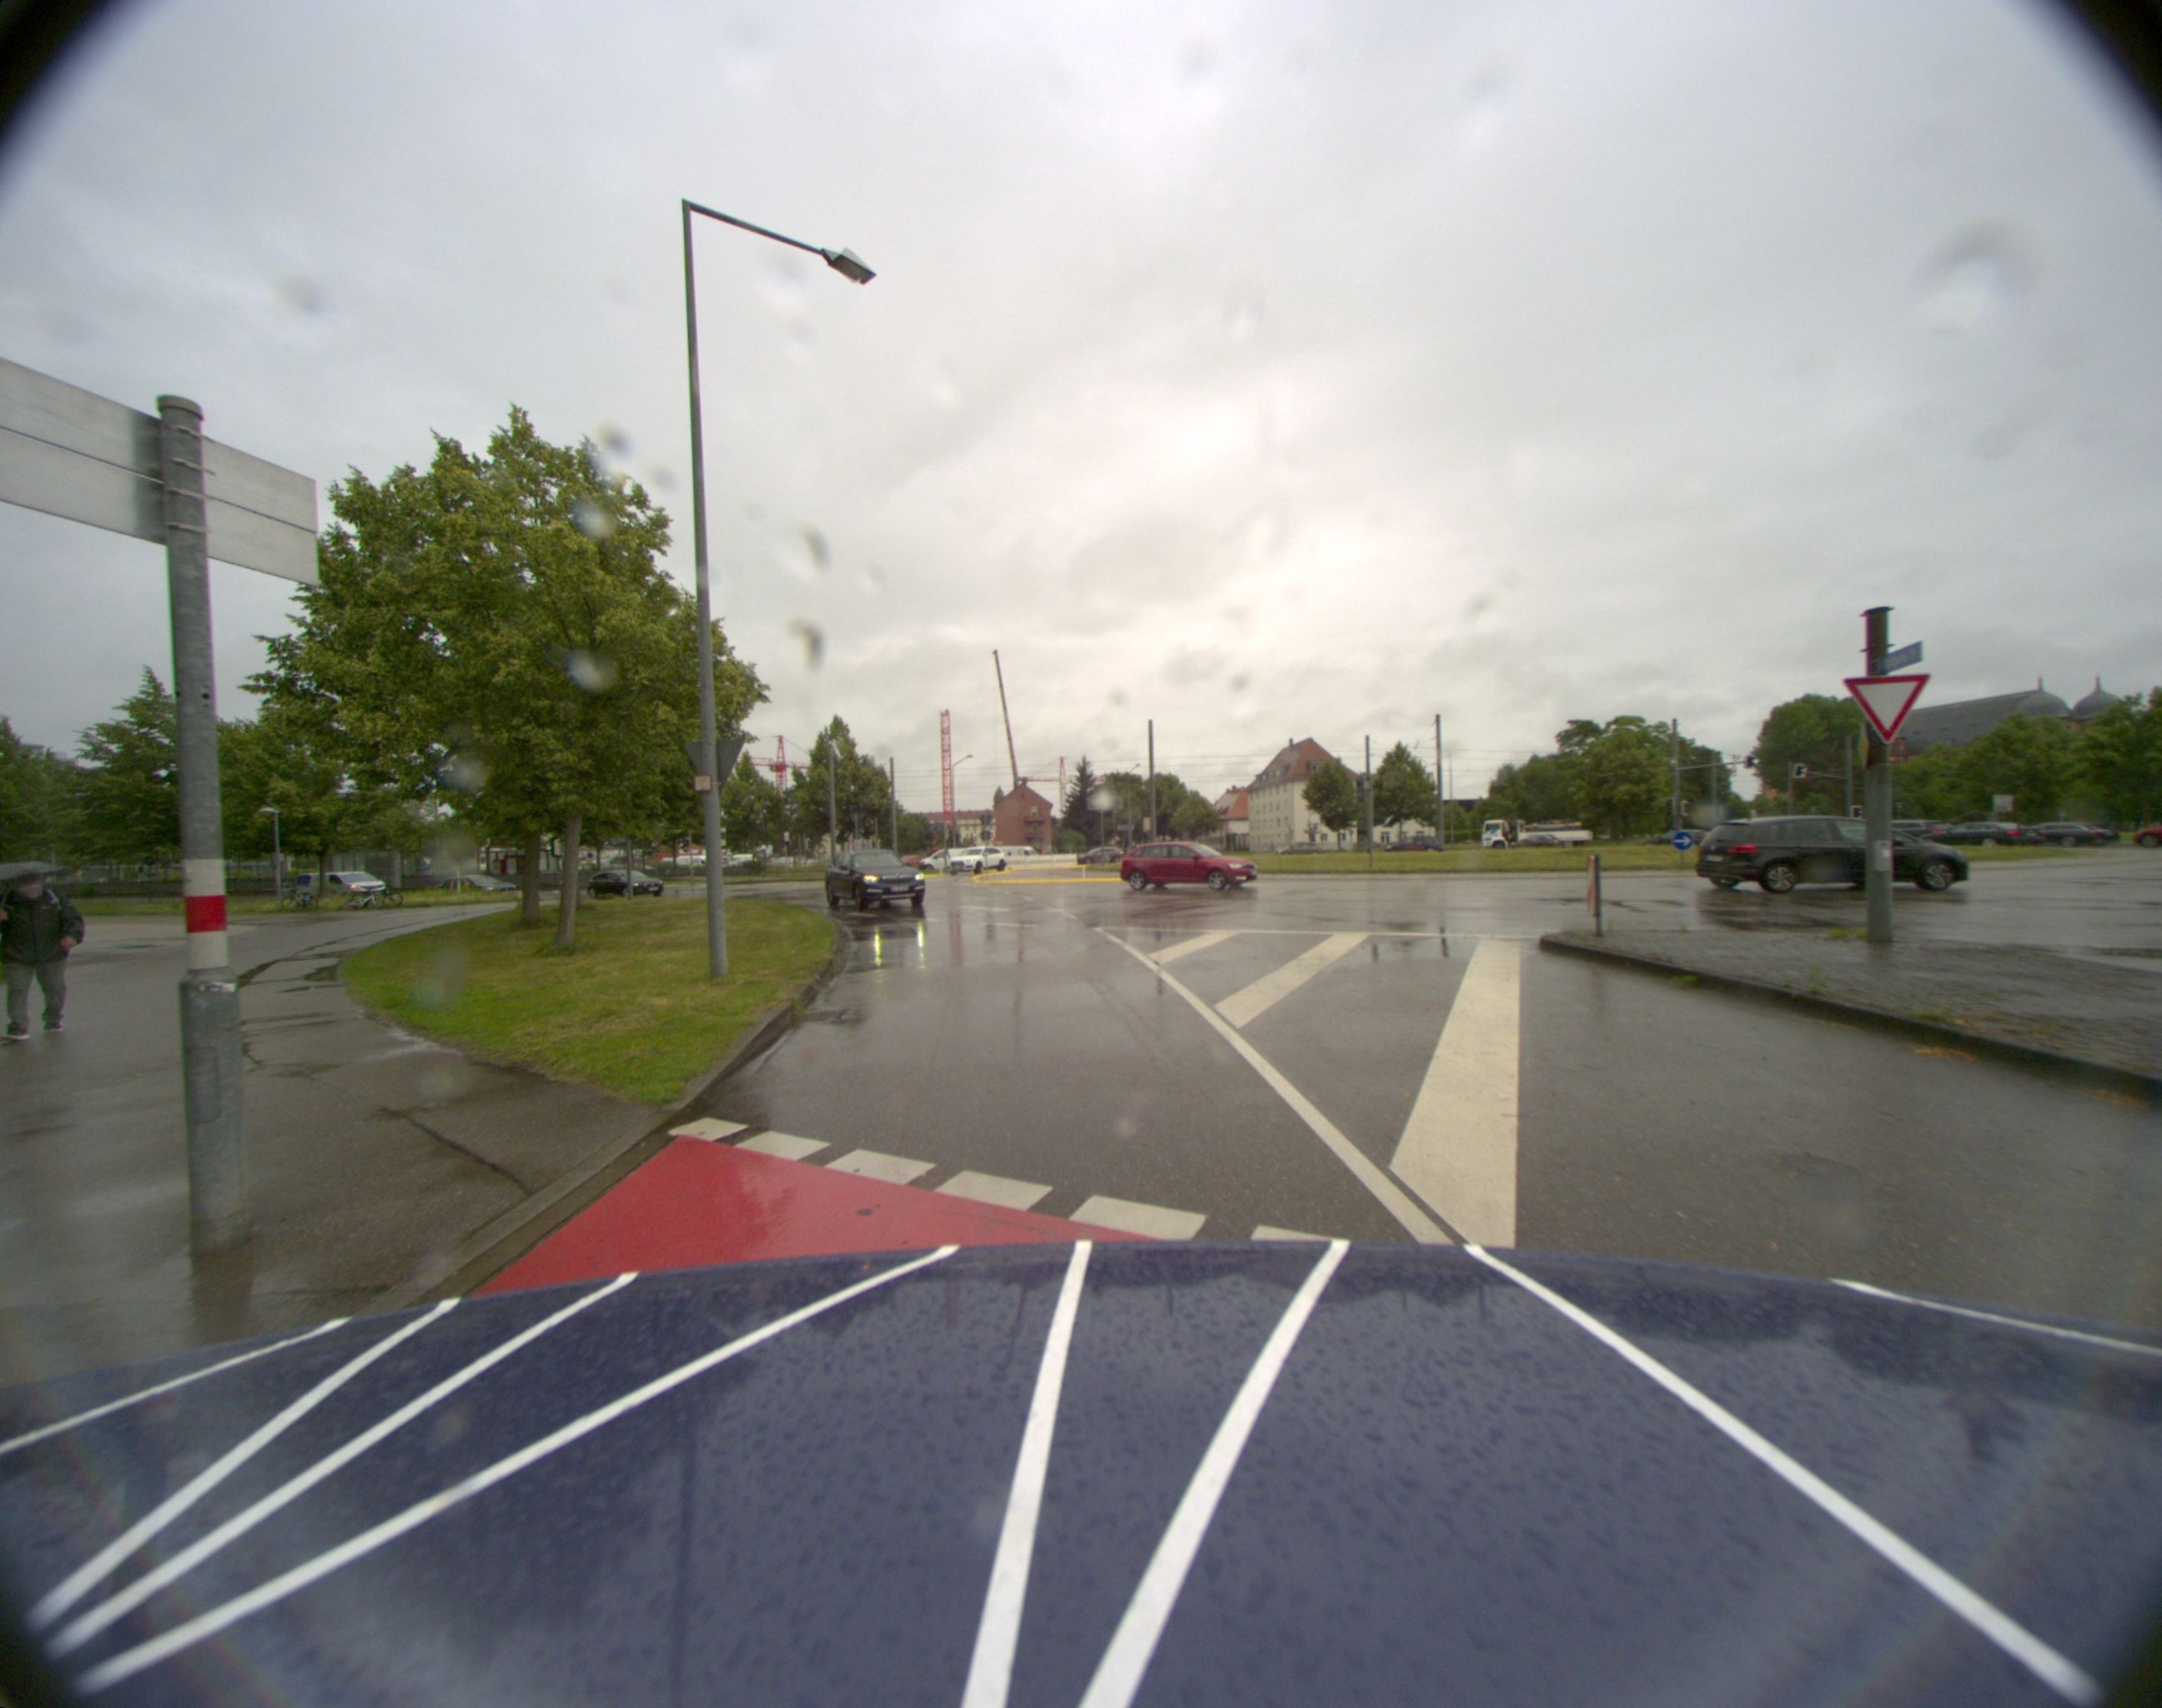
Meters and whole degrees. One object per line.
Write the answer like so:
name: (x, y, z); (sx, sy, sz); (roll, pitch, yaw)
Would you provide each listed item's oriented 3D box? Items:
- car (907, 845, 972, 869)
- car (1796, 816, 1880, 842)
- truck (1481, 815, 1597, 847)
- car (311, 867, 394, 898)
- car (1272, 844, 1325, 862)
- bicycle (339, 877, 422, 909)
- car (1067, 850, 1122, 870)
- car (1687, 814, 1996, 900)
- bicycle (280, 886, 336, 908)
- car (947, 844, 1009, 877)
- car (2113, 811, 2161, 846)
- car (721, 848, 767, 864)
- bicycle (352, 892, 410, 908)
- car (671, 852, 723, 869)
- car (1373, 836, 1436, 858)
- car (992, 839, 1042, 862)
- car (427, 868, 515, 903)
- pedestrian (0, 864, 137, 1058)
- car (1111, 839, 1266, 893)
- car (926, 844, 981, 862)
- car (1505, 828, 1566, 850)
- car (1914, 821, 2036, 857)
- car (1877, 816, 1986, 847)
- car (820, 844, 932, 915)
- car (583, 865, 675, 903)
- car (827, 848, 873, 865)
car: (-11.649, 0.216, 62.835); (5.024, 1.635, 1.829); (-3, 3, -6)
car: (52.674, -1.771, 52.999); (1.787, 1.639, 4.393); (-2, 3, 6)
truck: (41.118, -2.023, 68.401); (8.771, 2.697, 2.003); (0, 4, 38)
car: (-44.169, 1.710, 46.101); (3.992, 1.639, 1.790); (-1, 3, 17)
car: (20.616, -0.091, 72.216); (4.545, 1.484, 1.611); (-2, 3, 3)
bicycle: (-30.632, 1.692, 33.280); (2.529, 1.182, 0.552); (-3, 2, -32)
car: (1.190, 0.509, 67.329); (4.552, 1.484, 1.608); (-3, 3, -17)
car: (15.695, 0.050, 15.936); (4.325, 1.509, 1.790); (-3, 2, 10)
bicycle: (-33.563, 1.878, 32.991); (2.160, 0.842, 0.637); (-2, 1, 14)
car: (-6.436, 0.352, 48.218); (1.774, 1.734, 4.870); (-1, 3, 20)
car: (53.647, -1.216, 36.599); (1.788, 1.639, 4.390); (-2, 3, -2)
car: (-57.578, 0.339, 129.855); (6.824, 2.463, 2.502); (-2, 3, 13)
bicycle: (-30.492, 1.990, 33.106); (1.805, 0.555, 0.320); (-3, 2, -32)
car: (-62.885, 1.029, 124.425); (7.625, 2.463, 2.358); (-2, 3, 13)
car: (27.918, -0.608, 65.754); (4.856, 1.734, 1.779); (-1, 3, 19)
car: (-8.809, -0.464, 104.651); (6.411, 2.924, 2.360); (-1, 4, 27)
car: (-34.247, 1.760, 42.657); (4.372, 1.737, 1.920); (-1, 3, 23)
pedestrian: (-10.398, 1.030, 7.506); (0.924, 1.775, 0.806); (-3, 4, -18)
car: (3.277, 0.371, 23.457); (4.304, 1.451, 1.792); (-2, 2, 32)
car: (-15.577, -0.115, 92.566); (6.411, 2.003, 2.360); (-1, 4, 27)
car: (37.256, -1.238, 62.370); (3.988, 1.639, 1.792); (1, 4, 44)
car: (45.862, -0.819, 39.142); (1.786, 1.639, 4.396); (-1, 3, 14)
car: (49.418, -1.333, 44.298); (1.787, 1.639, 4.146); (-2, 3, 3)
car: (-6.155, 0.642, 22.455); (1.920, 1.737, 4.371); (-4, 4, -32)
car: (-23.219, 1.506, 39.011); (4.371, 1.737, 1.920); (-1, 4, 27)
car: (-38.291, 0.422, 126.167); (6.829, 2.462, 2.357); (-2, 1, 3)
